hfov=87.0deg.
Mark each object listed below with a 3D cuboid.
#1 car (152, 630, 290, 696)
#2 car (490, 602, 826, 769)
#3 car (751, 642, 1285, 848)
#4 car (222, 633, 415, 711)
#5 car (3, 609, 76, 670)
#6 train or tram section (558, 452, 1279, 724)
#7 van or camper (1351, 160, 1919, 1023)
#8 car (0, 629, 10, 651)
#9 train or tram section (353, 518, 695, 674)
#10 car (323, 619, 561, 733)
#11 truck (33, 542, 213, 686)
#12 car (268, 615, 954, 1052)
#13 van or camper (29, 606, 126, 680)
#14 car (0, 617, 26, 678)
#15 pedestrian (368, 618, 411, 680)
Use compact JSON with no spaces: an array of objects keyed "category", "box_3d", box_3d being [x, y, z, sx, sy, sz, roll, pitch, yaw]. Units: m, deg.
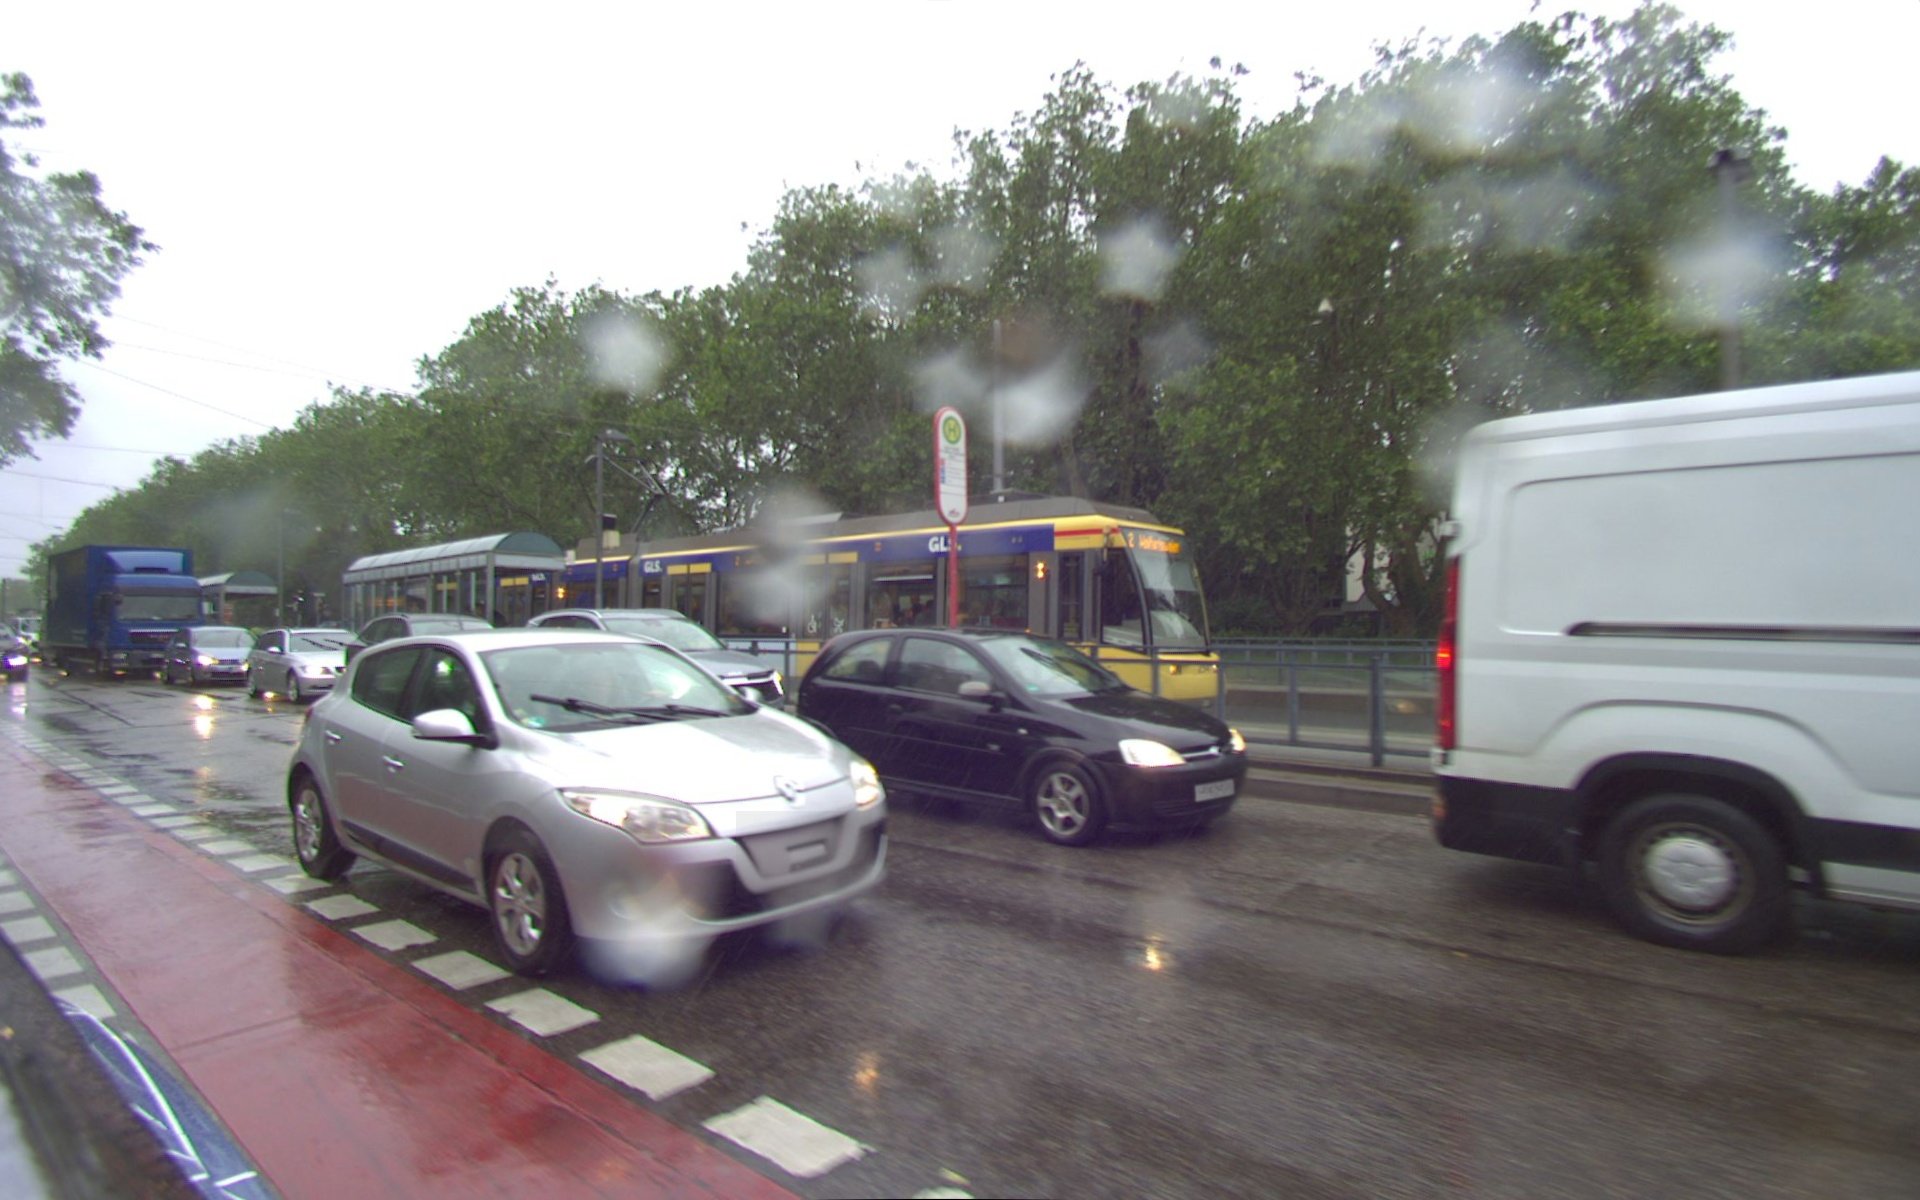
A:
[{"category":"car","box_3d":[-18.553,1.512,25.355,4.074,1.498,1.870,-2,-2,40]},{"category":"car","box_3d":[-3.765,0.903,12.186,4.454,1.636,1.893,-2,-2,43]},{"category":"car","box_3d":[0.240,0.927,7.827,4.085,1.126,1.448,-1,-1,41]},{"category":"car","box_3d":[-13.023,1.375,20.442,4.603,1.405,1.973,-2,-3,40]},{"category":"car","box_3d":[-40.542,1.692,44.520,5.728,2.445,1.972,-2,0,44]},{"category":"train or tram section","box_3d":[-2.143,-0.031,19.200,15.497,3.439,3.504,-2,0,41]},{"category":"van or camper","box_3d":[4.874,-0.039,3.959,5.847,3.166,2.136,-2,-2,40]},{"category":"car","box_3d":[-53.272,2.189,55.406,3.613,1.201,1.448,-1,-1,41]},{"category":"train or tram section","box_3d":[-12.962,0.012,28.814,13.654,3.539,3.476,-2,0,42]},{"category":"car","box_3d":[-8.586,1.149,16.637,4.317,1.633,1.973,-2,-2,40]},{"category":"truck","box_3d":[-26.373,0.512,31.669,9.804,3.919,2.512,-2,-3,40]},{"category":"car","box_3d":[-2.115,0.858,5.499,3.998,1.489,1.750,-1,-1,41]},{"category":"van or camper","box_3d":[-34.064,1.608,38.988,6.428,2.590,1.973,-2,0,41]},{"category":"car","box_3d":[-28.315,1.368,29.202,3.678,1.679,1.732,-2,-1,43]},{"category":"pedestrian","box_3d":[-13.514,1.147,23.977,0.750,1.429,0.626,-2,0,40]}]
